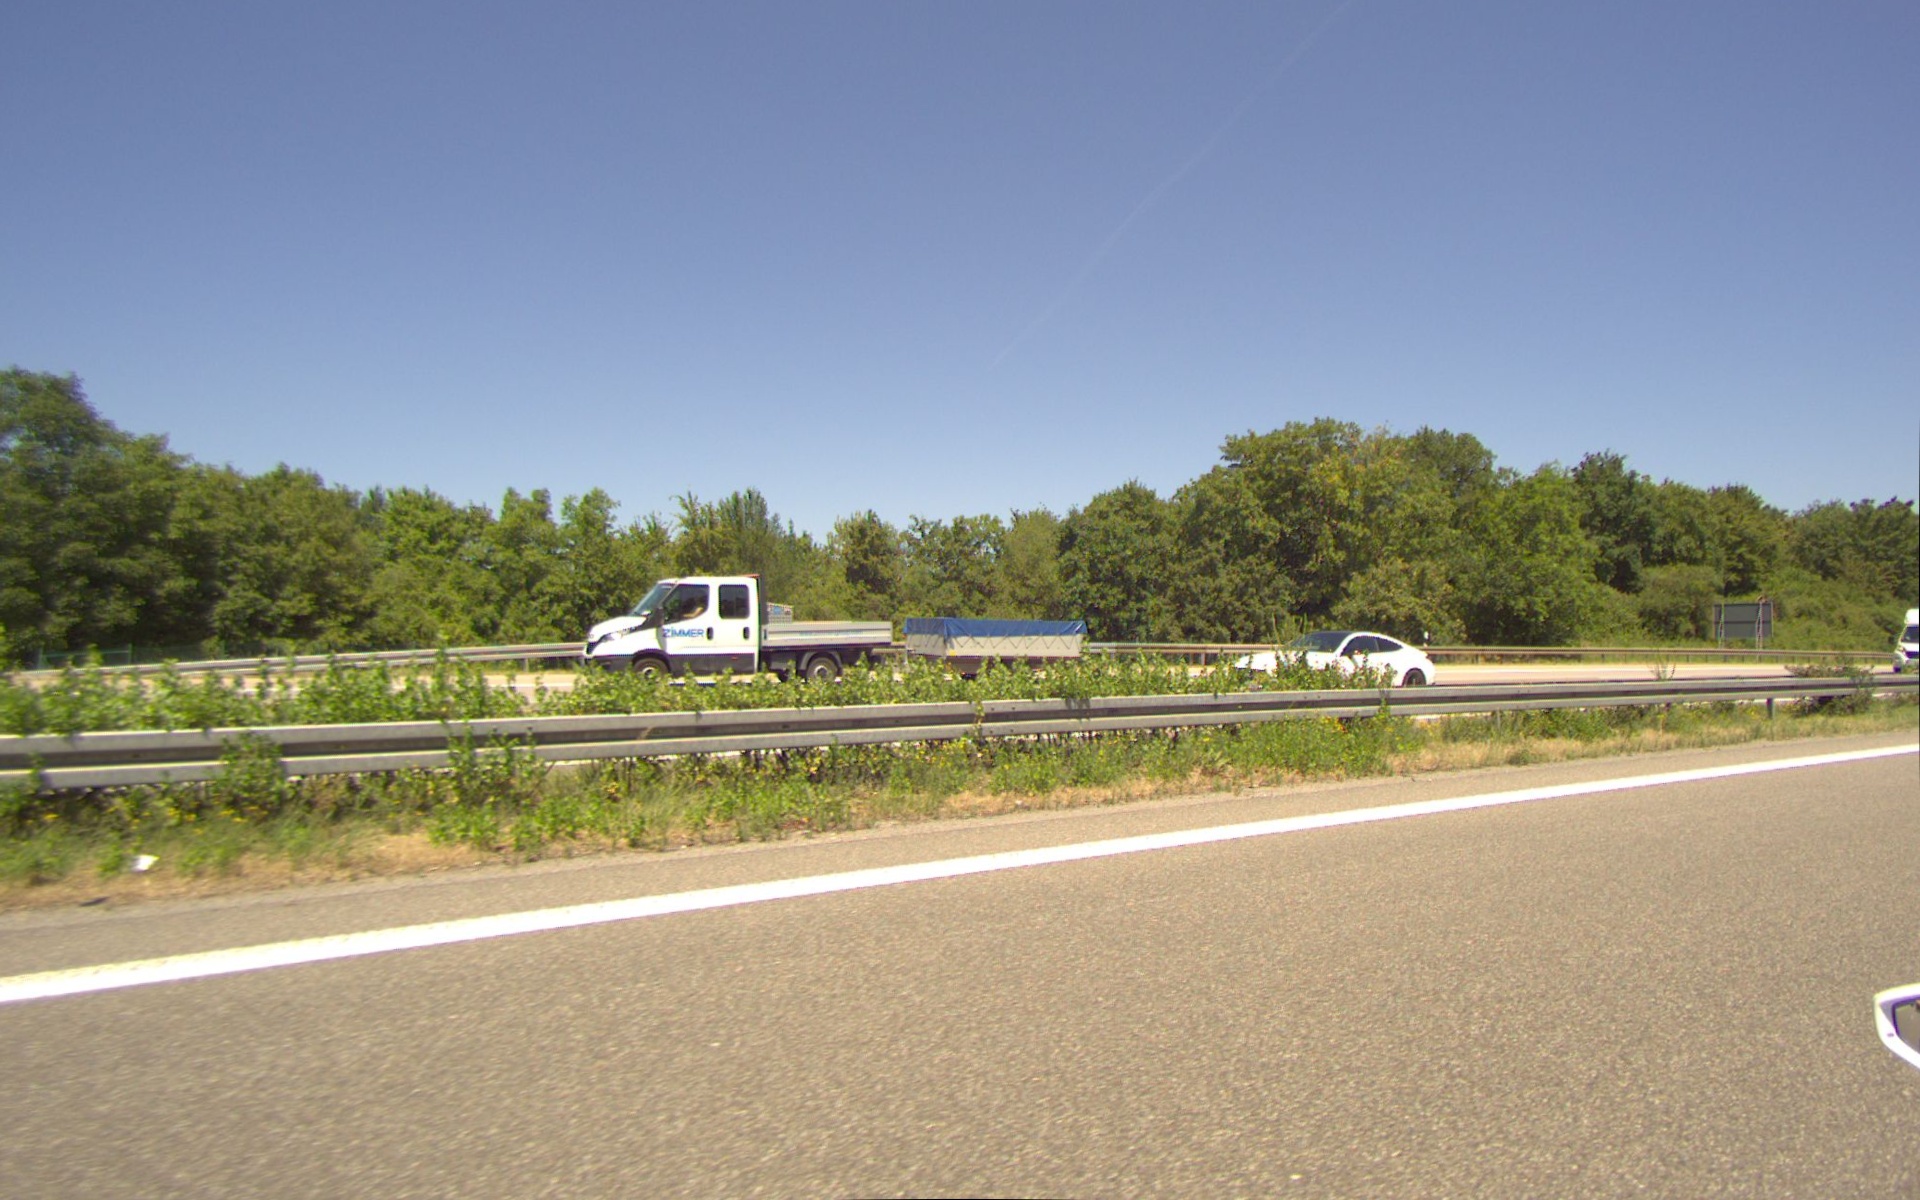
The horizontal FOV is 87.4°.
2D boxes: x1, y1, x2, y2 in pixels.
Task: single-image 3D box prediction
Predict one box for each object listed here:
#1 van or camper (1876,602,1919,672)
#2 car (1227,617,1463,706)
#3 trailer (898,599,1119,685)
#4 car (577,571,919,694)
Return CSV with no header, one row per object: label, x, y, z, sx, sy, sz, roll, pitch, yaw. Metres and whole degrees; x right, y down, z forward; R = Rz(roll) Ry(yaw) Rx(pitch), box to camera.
van or camper,42.864,1.604,43.317,7.927,2.887,2.503,2,-1,-29
car,7.889,1.198,20.428,4.951,1.617,1.803,2,-1,-30
trailer,1.192,0.964,23.799,4.931,1.860,2.019,2,-1,-30
car,-4.227,0.654,20.553,6.464,2.201,2.233,2,-1,-30
